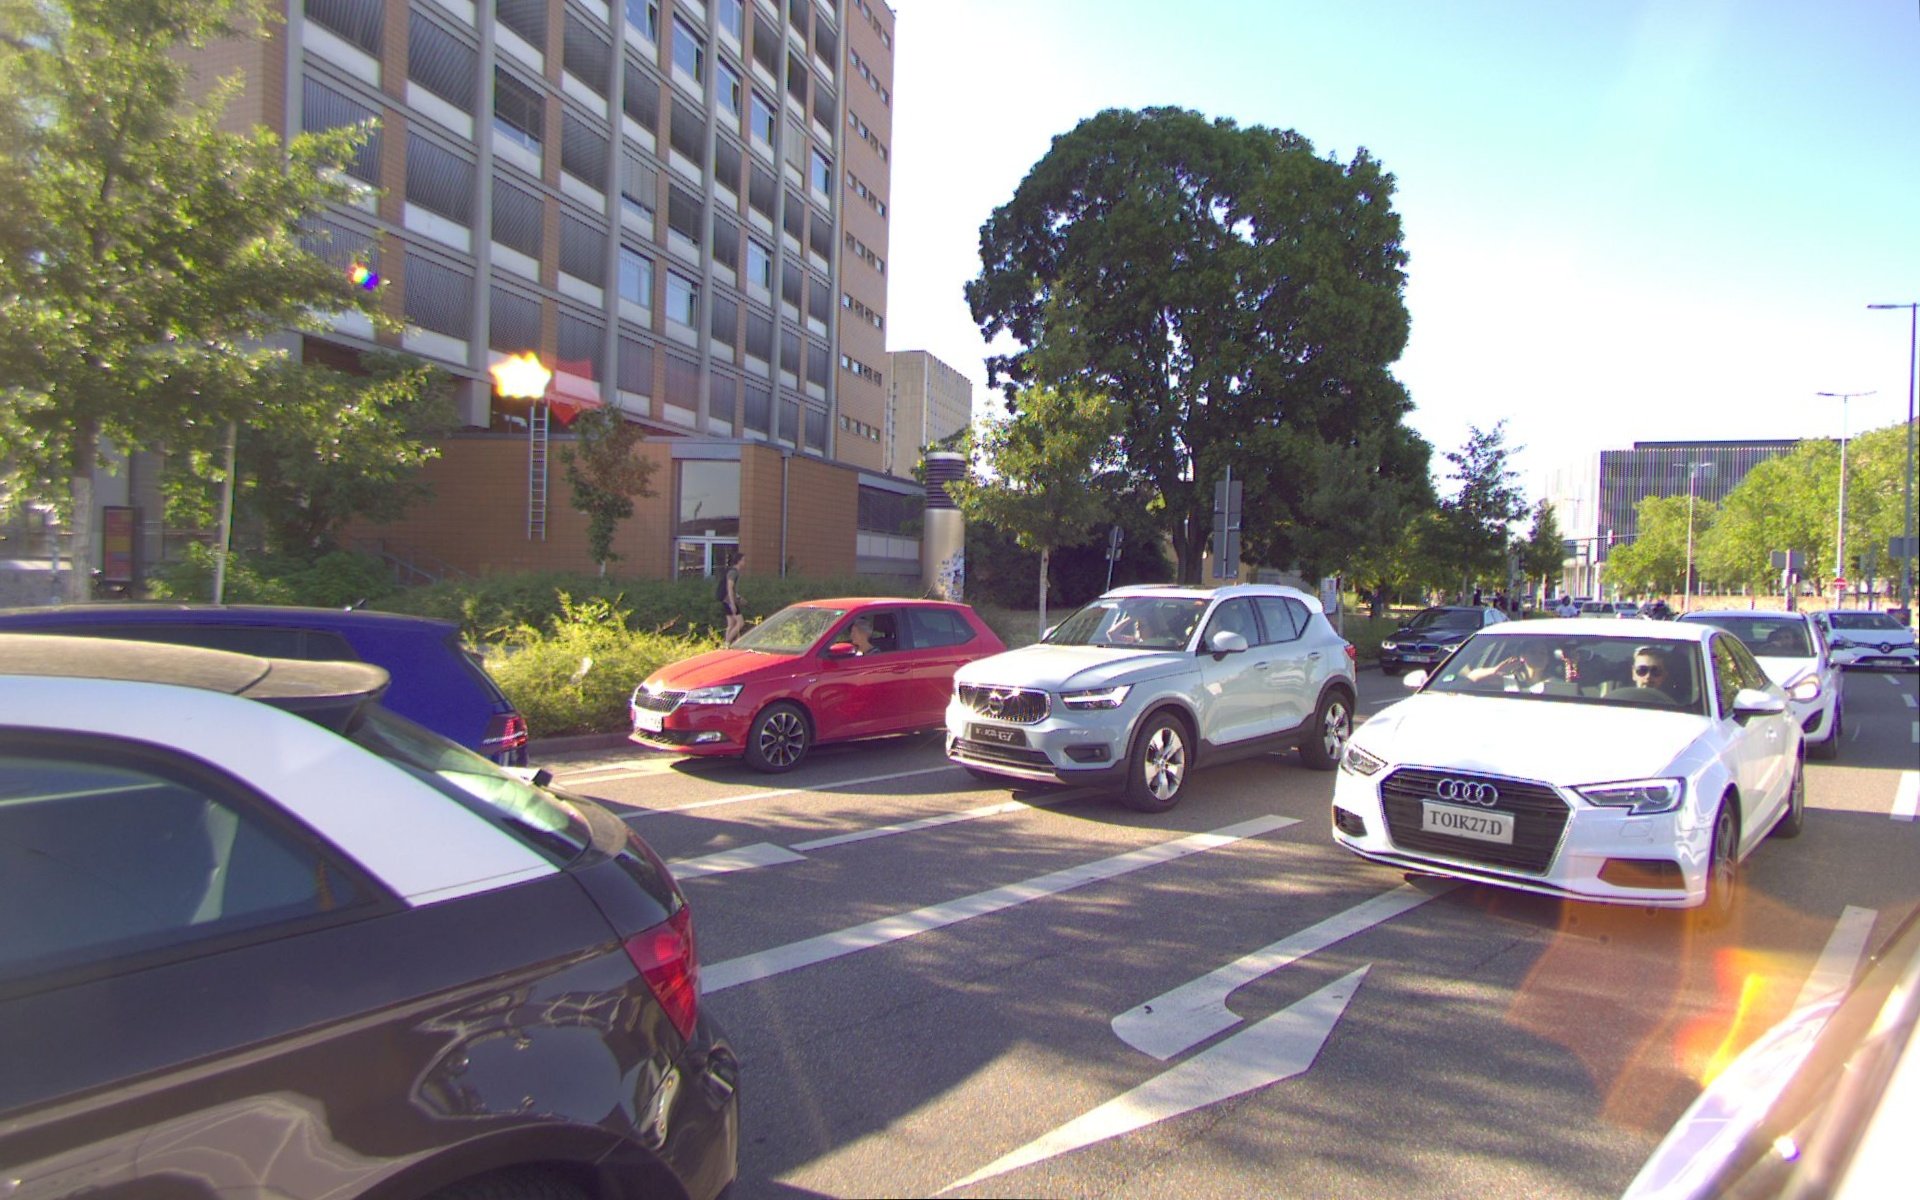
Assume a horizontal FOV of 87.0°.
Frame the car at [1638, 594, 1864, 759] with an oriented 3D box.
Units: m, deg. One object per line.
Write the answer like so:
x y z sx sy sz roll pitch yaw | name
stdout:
8.878 0.689 11.228 1.623 1.478 3.979 0 1 43 | car

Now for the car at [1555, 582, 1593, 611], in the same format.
38.788 -0.233 63.984 1.730 1.727 3.962 2 1 27 | car

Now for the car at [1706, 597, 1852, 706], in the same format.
13.116 0.711 16.123 1.622 1.478 3.981 0 0 42 | car

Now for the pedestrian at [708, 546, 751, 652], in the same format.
-4.226 -0.024 18.557 0.681 1.910 0.465 0 0 -24 | pedestrian

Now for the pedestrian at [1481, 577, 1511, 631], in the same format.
20.817 0.153 39.318 0.891 2.039 0.870 0 0 39 | pedestrian

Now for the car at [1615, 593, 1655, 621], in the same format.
44.650 0.441 67.014 1.730 1.727 3.962 2 1 27 | car

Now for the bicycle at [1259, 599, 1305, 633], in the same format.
10.276 0.493 32.284 0.657 0.975 2.005 2 2 41 | bicycle

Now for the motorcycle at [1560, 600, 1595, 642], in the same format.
20.464 0.681 33.510 0.714 1.321 2.203 0 0 39 | motorcycle

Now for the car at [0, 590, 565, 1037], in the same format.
-3.733 0.685 3.745 3.930 1.422 1.626 -1 0 -41 | car

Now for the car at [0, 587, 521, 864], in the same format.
-5.231 0.643 6.124 4.433 1.422 1.726 -1 0 -41 | car

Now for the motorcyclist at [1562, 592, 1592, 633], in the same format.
20.411 0.396 33.479 0.716 1.321 0.723 0 0 45 | motorcyclist

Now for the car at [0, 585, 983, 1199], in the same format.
-1.964 0.698 1.347 3.930 1.422 1.626 -1 0 -41 | car

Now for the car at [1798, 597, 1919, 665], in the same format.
21.905 0.675 24.406 1.740 1.478 4.150 0 0 27 | car

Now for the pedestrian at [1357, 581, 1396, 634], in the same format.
13.919 0.242 33.788 1.005 1.742 0.873 0 0 39 | pedestrian

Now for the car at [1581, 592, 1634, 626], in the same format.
31.688 0.411 49.521 1.738 1.544 3.943 2 2 39 | car

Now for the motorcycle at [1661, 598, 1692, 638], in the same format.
24.780 0.614 34.982 0.714 1.321 2.203 0 0 39 | motorcycle

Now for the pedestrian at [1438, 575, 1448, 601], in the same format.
30.383 -0.759 63.658 0.543 1.627 0.598 0 0 30 | pedestrian

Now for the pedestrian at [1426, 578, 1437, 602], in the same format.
29.799 -0.629 63.949 0.543 1.549 0.598 0 0 30 | pedestrian

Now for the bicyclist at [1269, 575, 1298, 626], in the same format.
10.343 0.012 32.361 0.615 1.580 0.858 0 0 41 | bicyclist

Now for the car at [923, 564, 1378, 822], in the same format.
1.778 0.569 8.462 4.153 1.641 1.625 -1 0 -43 | car

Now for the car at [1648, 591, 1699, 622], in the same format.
37.912 0.318 53.876 1.731 1.564 3.960 2 1 29 | car

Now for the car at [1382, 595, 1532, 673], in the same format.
10.687 0.644 21.609 1.750 1.478 4.123 0 1 43 | car

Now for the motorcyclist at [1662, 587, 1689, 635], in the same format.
24.628 0.368 34.818 0.708 1.610 0.680 0 0 40 | motorcyclist

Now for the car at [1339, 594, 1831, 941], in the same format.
3.950 0.690 6.122 3.769 1.422 1.625 -1 0 -43 | car

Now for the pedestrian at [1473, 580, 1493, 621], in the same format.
20.880 0.024 40.386 0.593 1.615 0.586 0 0 41 | pedestrian

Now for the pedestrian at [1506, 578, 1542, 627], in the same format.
23.993 0.100 43.058 1.137 2.039 1.268 0 0 39 | pedestrian

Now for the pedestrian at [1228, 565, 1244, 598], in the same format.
17.528 -1.165 64.321 0.917 2.039 0.750 0 0 22 | pedestrian

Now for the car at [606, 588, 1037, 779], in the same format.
-1.187 0.630 9.847 3.974 1.478 1.625 -1 0 -43 | car
